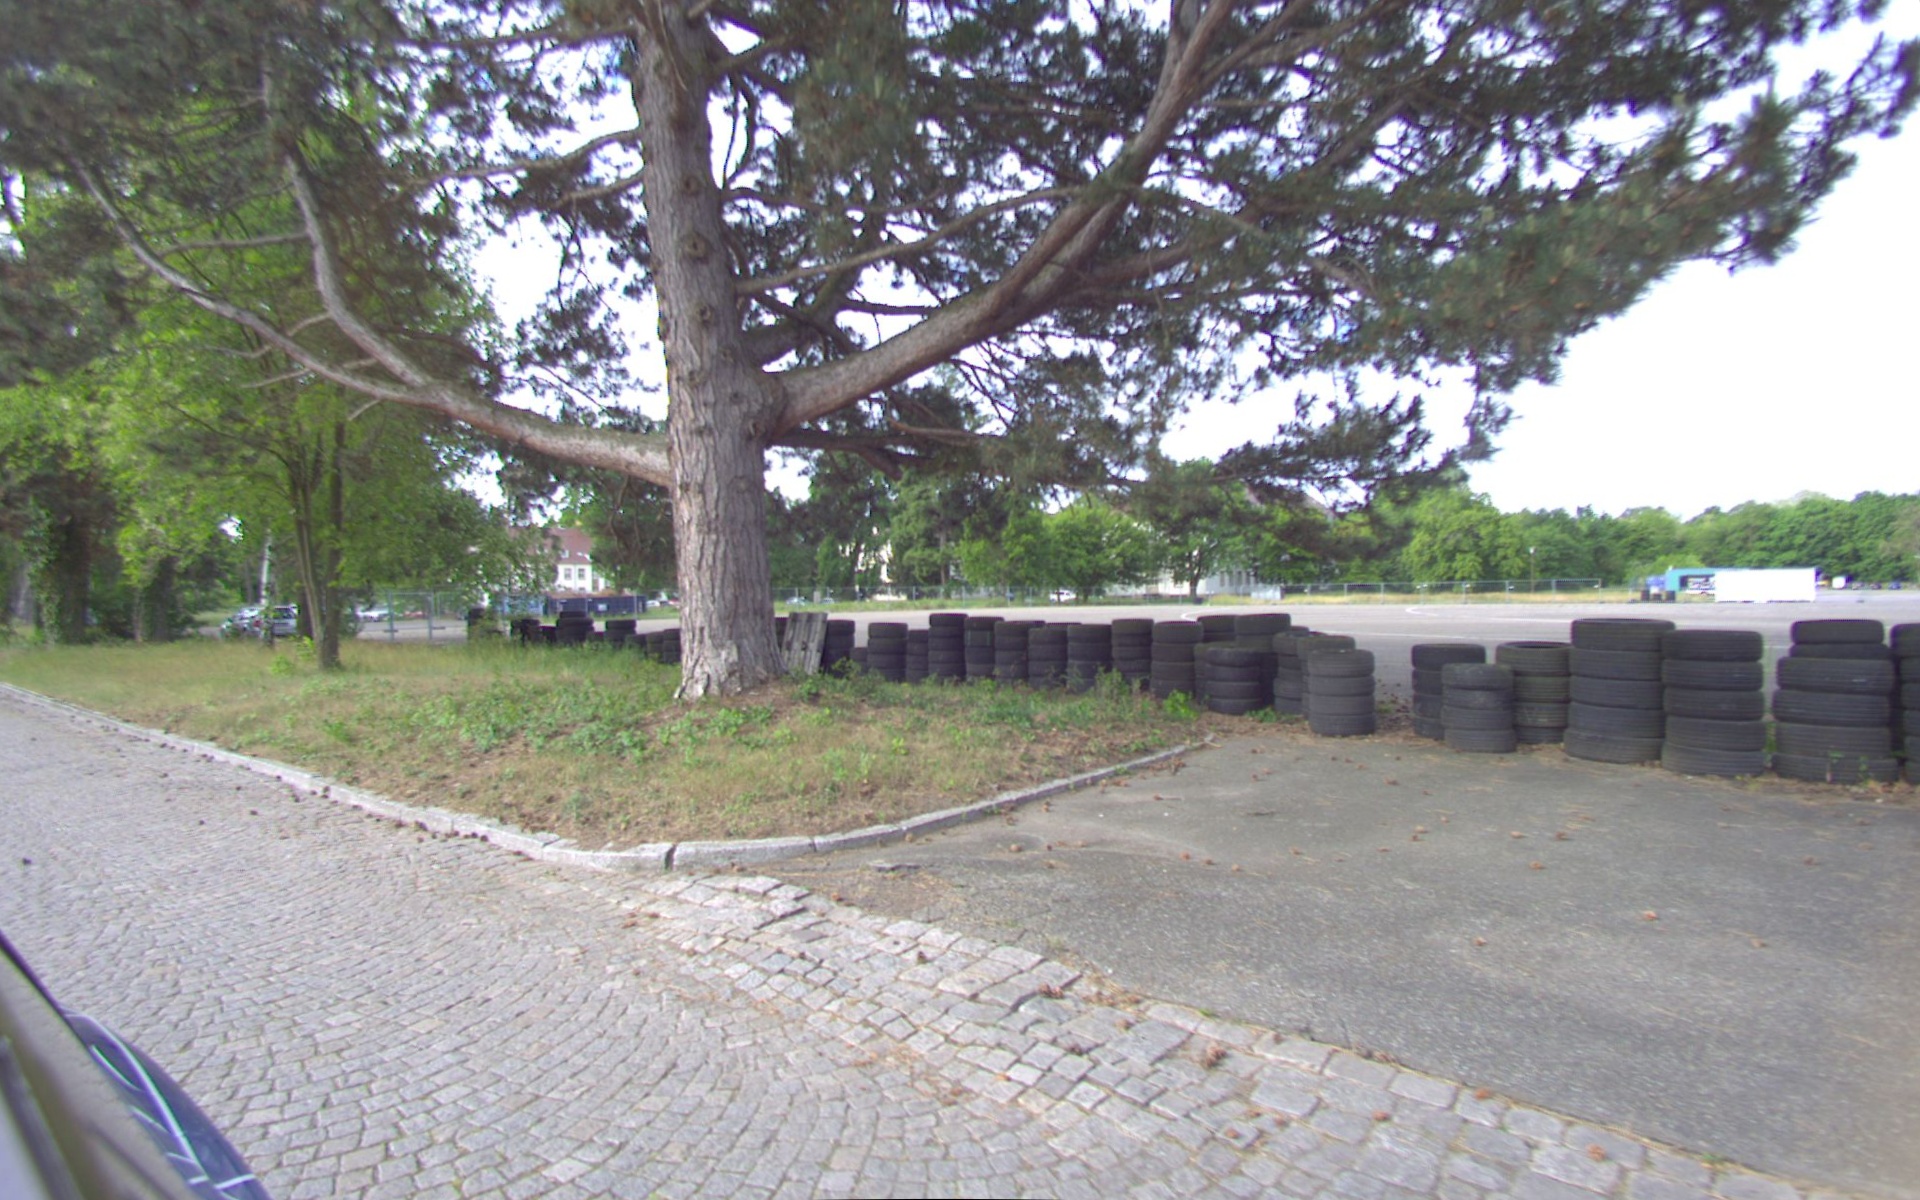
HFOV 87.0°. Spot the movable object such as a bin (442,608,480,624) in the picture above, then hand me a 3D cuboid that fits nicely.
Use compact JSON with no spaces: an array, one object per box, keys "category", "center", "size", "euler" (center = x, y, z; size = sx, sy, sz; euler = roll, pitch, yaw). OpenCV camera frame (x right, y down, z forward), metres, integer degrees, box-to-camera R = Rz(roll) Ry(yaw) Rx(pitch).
[{"category":"movable object such as a bin","center":[-34.477,1.114,69.883],"size":[2.712,1.079,1.046],"euler":[-1,0,32]}]

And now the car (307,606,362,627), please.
[{"category":"car","center":[-46.276,1.241,74.877],"size":[4.445,1.460,1.975],"euler":[-1,0,37]}]

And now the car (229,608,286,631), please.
[{"category":"car","center":[-49.046,1.351,70.635],"size":[4.445,1.460,1.975],"euler":[-1,0,37]}]

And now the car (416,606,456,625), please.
[{"category":"car","center":[-46.992,1.378,90.696],"size":[3.796,1.696,1.593],"euler":[-1,0,35]}]

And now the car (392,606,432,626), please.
[{"category":"car","center":[-48.263,1.425,89.178],"size":[3.796,1.696,1.593],"euler":[-1,0,35]}]

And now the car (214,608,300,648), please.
[{"category":"car","center":[-26.840,1.032,38.621],"size":[3.718,1.421,1.650],"euler":[-1,0,38]}]

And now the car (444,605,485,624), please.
[{"category":"car","center":[-45.514,1.320,92.950],"size":[3.796,1.696,1.728],"euler":[-1,0,35]}]

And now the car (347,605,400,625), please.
[{"category":"car","center":[-44.861,1.178,77.410],"size":[4.445,1.460,1.975],"euler":[-1,0,37]}]

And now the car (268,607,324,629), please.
[{"category":"car","center":[-47.830,1.297,72.851],"size":[4.445,1.460,1.975],"euler":[-1,0,37]}]
